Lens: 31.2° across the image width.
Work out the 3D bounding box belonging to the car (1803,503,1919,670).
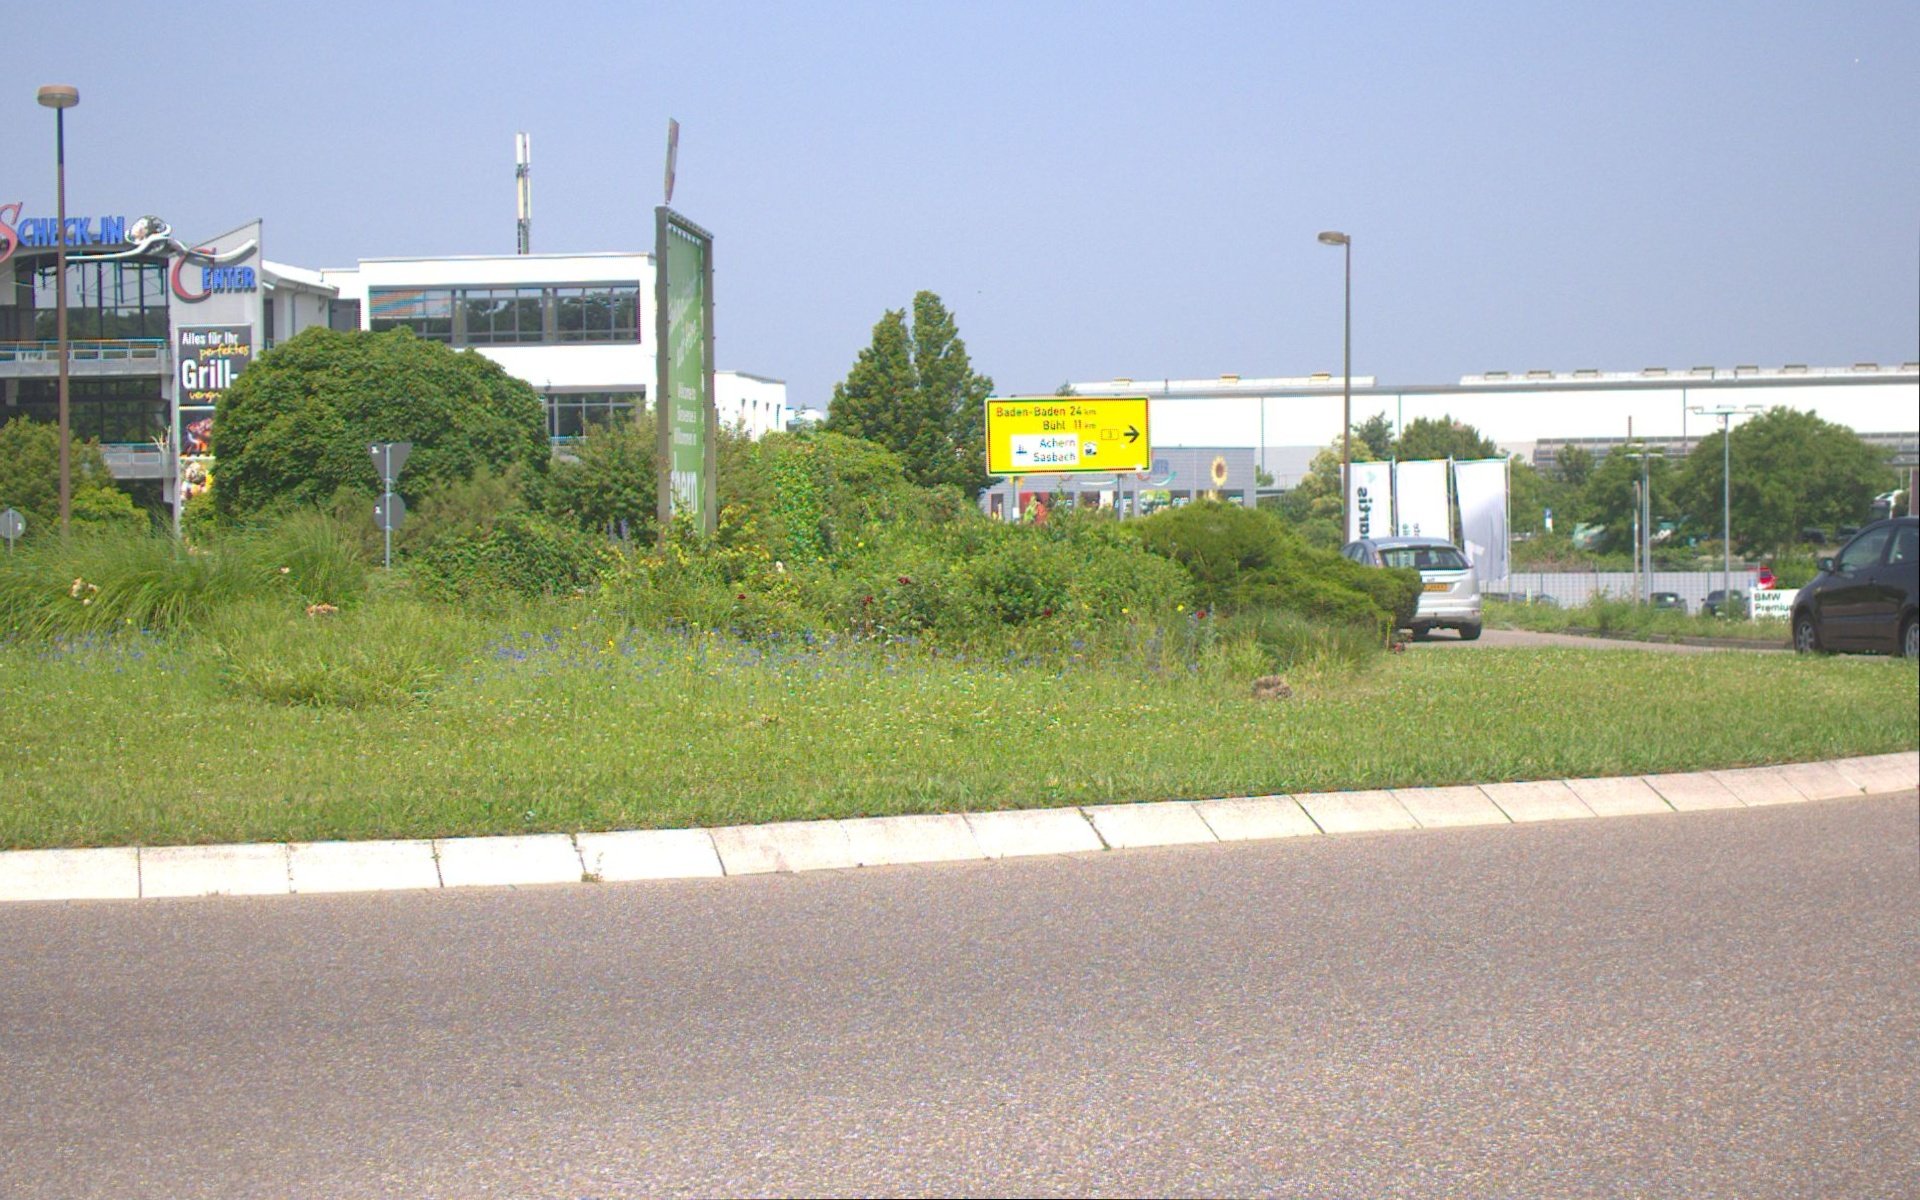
[{"bbox_3d":[9.602,-0.117,33.318,1.779,1.525,4.000,1,0,-1],"label":"car"}]

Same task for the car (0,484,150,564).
[{"bbox_3d":[-18.443,-1.548,70.335,3.315,1.568,1.555,0,0,16],"label":"car"}]

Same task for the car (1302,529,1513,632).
[{"bbox_3d":[6.421,-0.283,49.743,1.778,1.402,4.087,1,0,-11],"label":"car"}]
